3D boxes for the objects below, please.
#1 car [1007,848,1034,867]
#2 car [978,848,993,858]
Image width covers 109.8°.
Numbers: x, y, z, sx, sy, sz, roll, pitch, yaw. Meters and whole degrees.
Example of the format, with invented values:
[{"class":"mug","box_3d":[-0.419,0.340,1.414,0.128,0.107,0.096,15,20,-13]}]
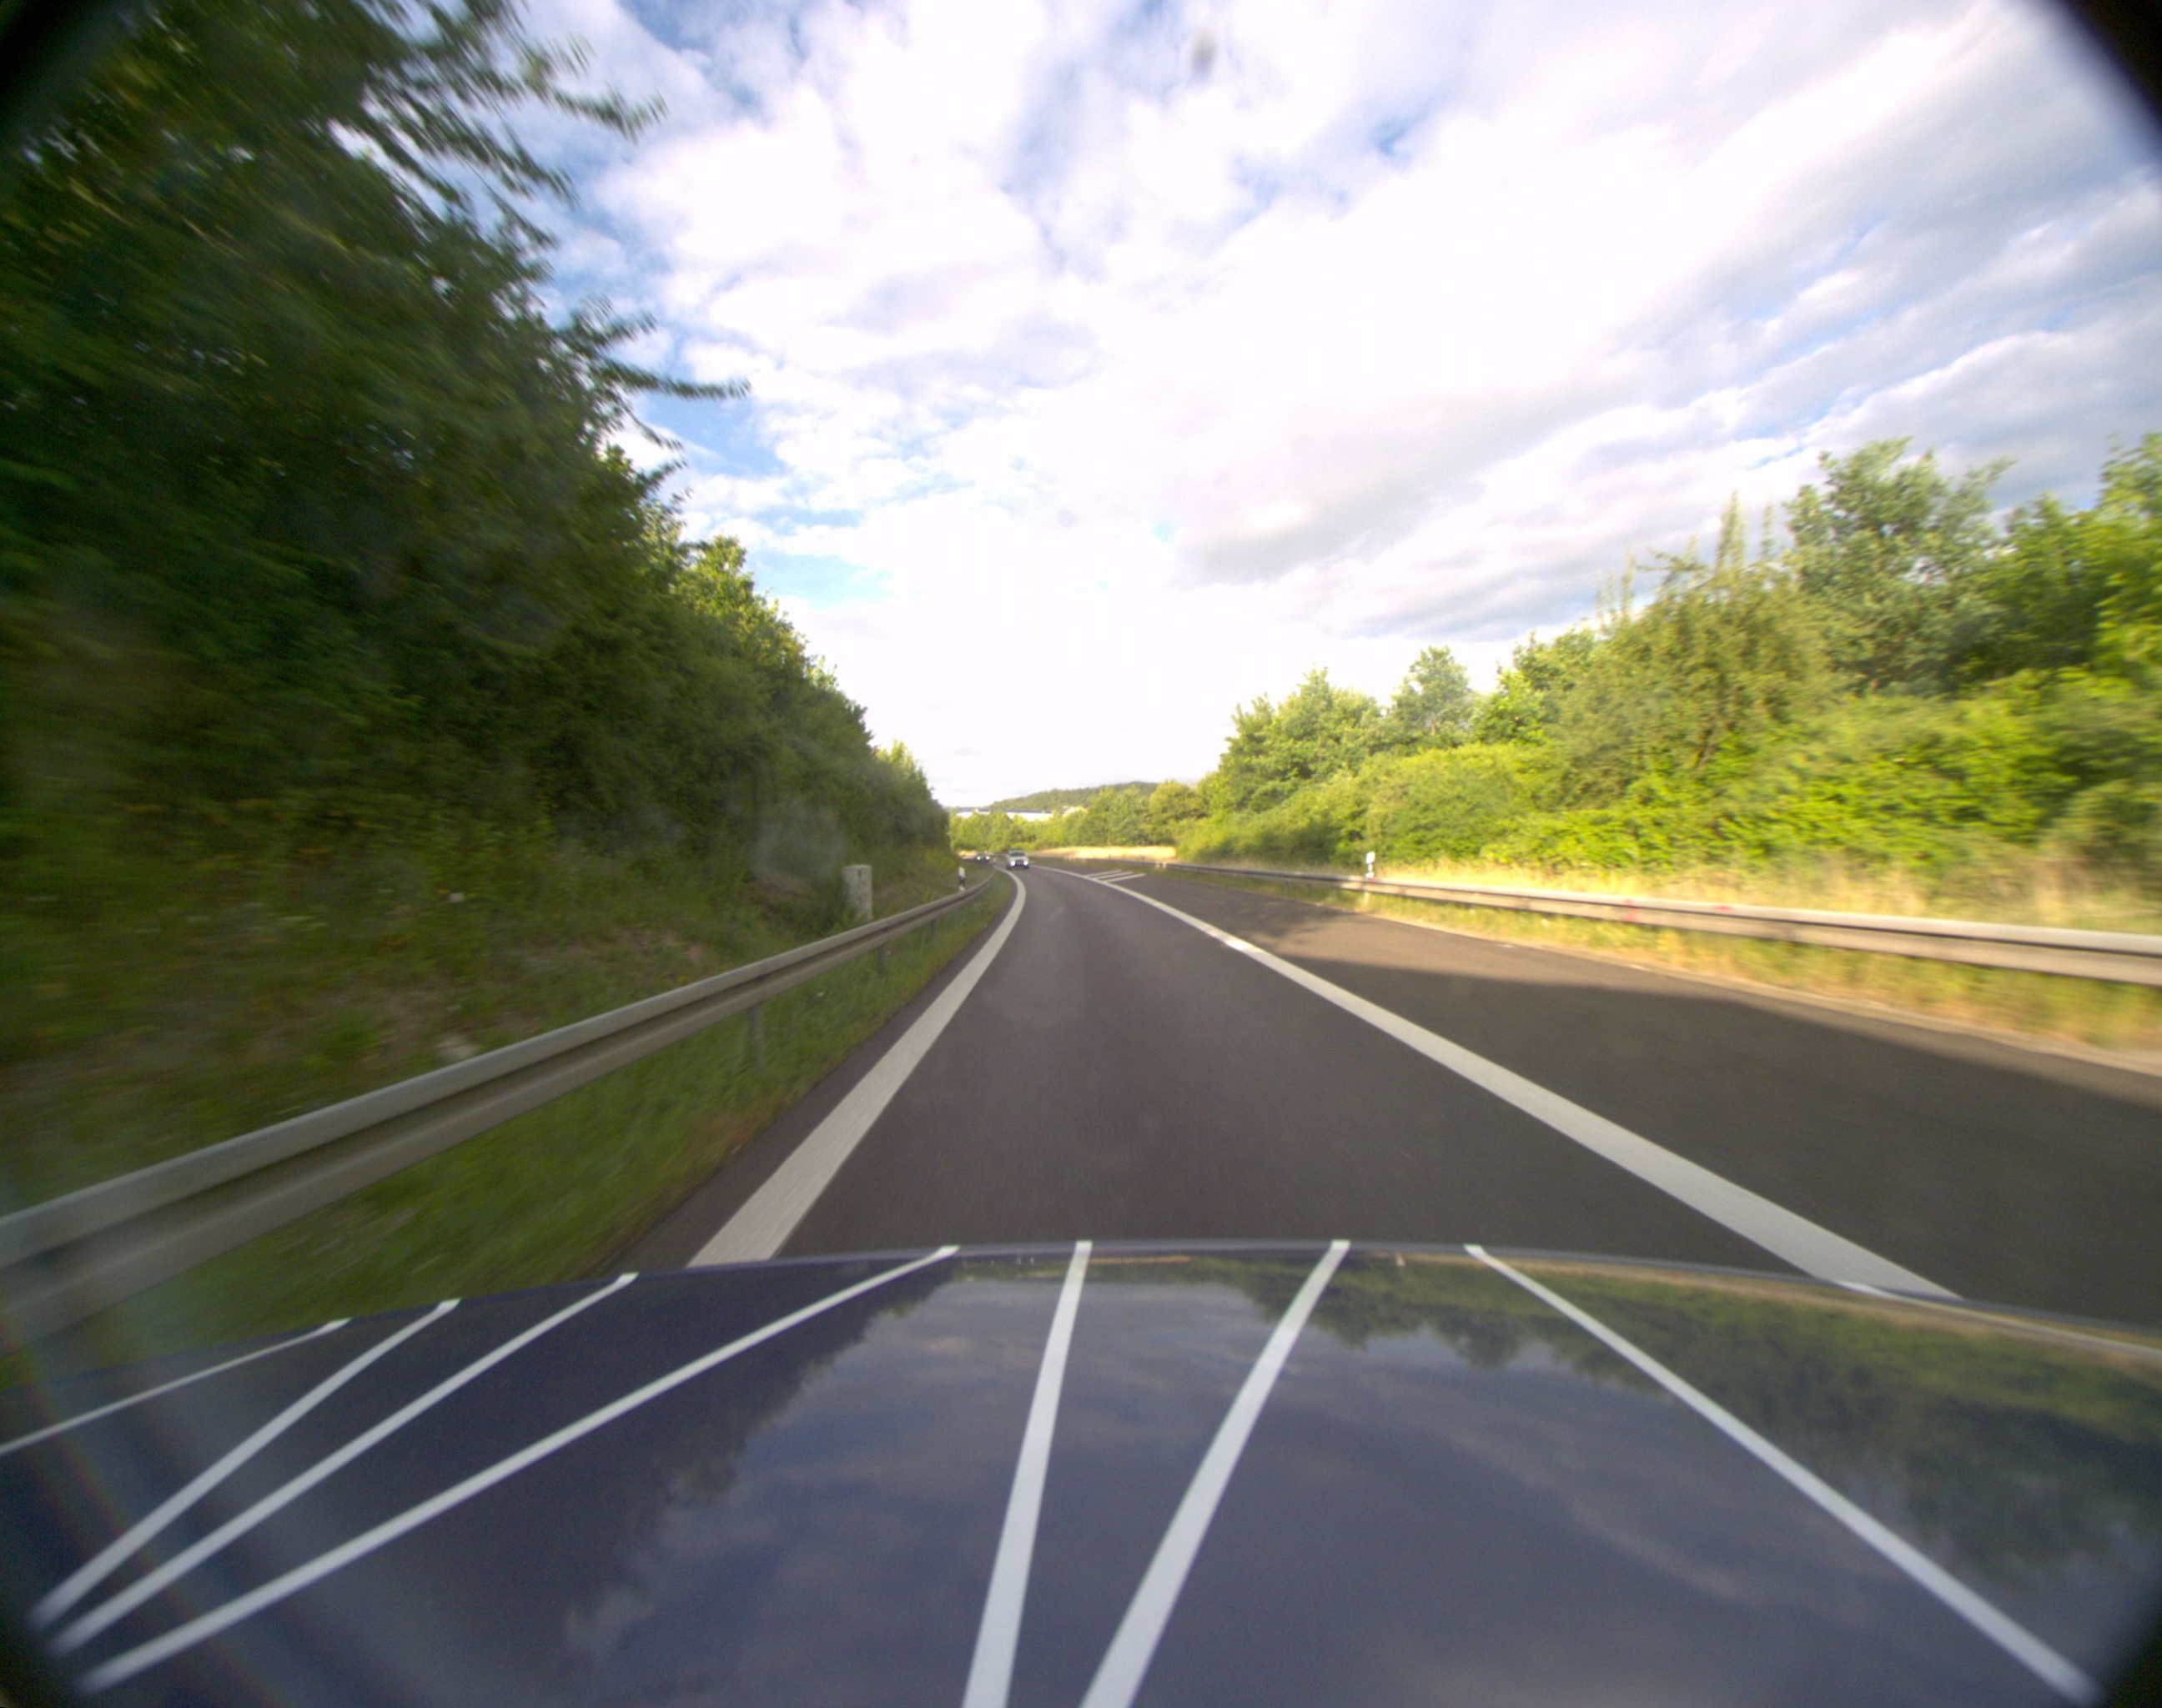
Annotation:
[{"class":"car","box_3d":[-5.805,0.339,72.710,1.907,1.655,3.995,-4,1,-12]},{"class":"car","box_3d":[-14.393,-0.150,114.330,1.622,1.452,3.657,-2,2,-15]}]
